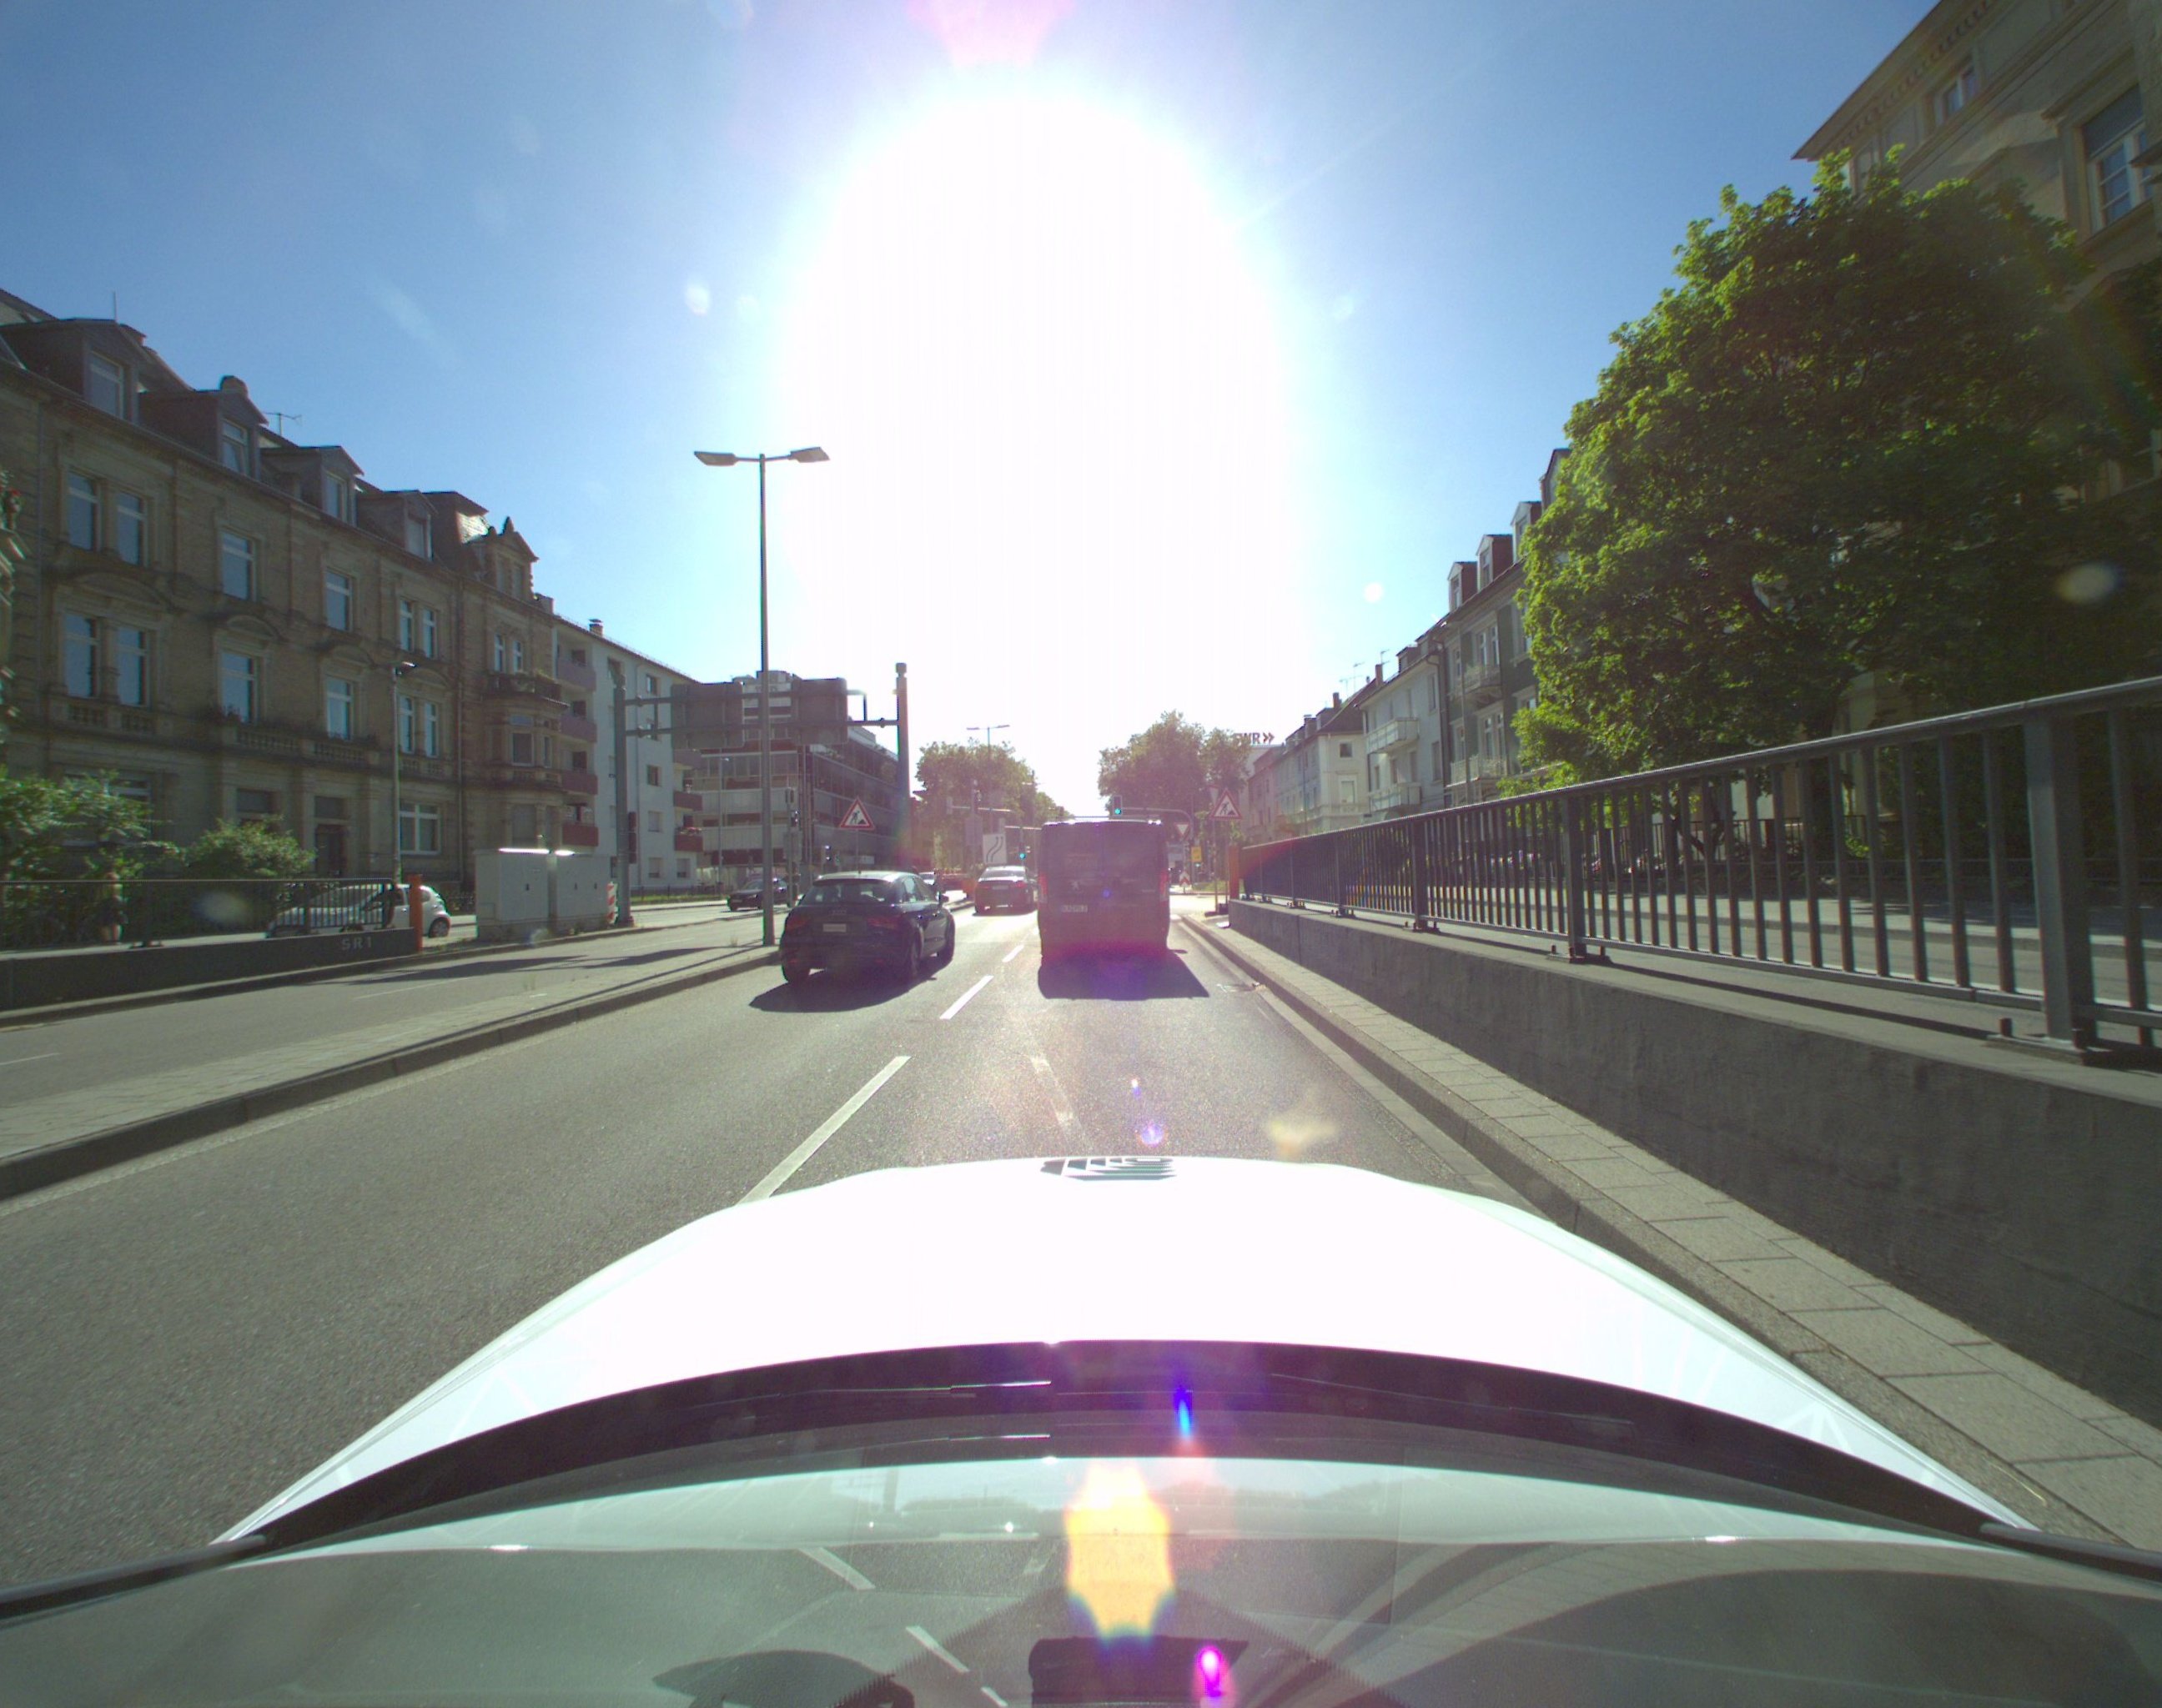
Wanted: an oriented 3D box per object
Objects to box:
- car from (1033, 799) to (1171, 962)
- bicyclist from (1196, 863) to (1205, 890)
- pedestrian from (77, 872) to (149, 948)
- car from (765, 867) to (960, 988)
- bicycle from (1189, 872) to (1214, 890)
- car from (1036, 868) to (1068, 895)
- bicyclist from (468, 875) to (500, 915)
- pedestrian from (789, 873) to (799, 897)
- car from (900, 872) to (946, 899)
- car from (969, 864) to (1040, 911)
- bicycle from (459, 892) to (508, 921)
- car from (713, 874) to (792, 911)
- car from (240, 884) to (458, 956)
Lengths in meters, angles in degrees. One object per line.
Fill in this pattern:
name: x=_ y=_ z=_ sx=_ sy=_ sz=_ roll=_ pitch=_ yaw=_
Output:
car: x=0.376 y=0.417 z=14.180 sx=2.022 sy=2.402 sz=3.974 roll=-1 pitch=-1 yaw=2
bicyclist: x=7.762 y=1.449 z=52.766 sx=0.507 sy=1.735 sz=0.598 roll=0 pitch=-1 yaw=1
pedestrian: x=-22.400 y=1.286 z=18.869 sx=0.633 sy=1.706 sz=0.834 roll=0 pitch=-1 yaw=1
car: x=-2.913 y=0.909 z=11.737 sx=1.689 sy=1.419 sz=3.889 roll=0 pitch=-1 yaw=1
bicycle: x=7.794 y=1.763 z=52.760 sx=1.560 sy=1.118 sz=0.570 roll=0 pitch=-1 yaw=1
car: x=-1.613 y=1.560 z=46.717 sx=1.613 sy=1.403 sz=3.853 roll=0 pitch=0 yaw=1
bicyclist: x=-25.066 y=1.711 z=34.197 sx=0.585 sy=1.659 sz=0.951 roll=0 pitch=-1 yaw=2
pedestrian: x=-22.608 y=2.453 z=64.193 sx=0.659 sy=1.896 sz=0.720 roll=0 pitch=-1 yaw=-11
car: x=-9.868 y=1.958 z=51.120 sx=1.928 sy=1.555 sz=3.925 roll=0 pitch=-1 yaw=2
car: x=-2.470 y=1.077 z=27.429 sx=1.802 sy=1.439 sz=5.003 roll=0 pitch=-1 yaw=1
bicycle: x=-25.063 y=2.193 z=34.192 sx=0.515 sy=1.104 sz=1.974 roll=0 pitch=-1 yaw=2
car: x=-15.423 y=1.773 z=38.450 sx=1.928 sy=1.555 sz=3.926 roll=0 pitch=-1 yaw=3
car: x=-17.032 y=1.488 z=19.210 sx=1.668 sy=1.409 sz=3.620 roll=-1 pitch=-1 yaw=5
